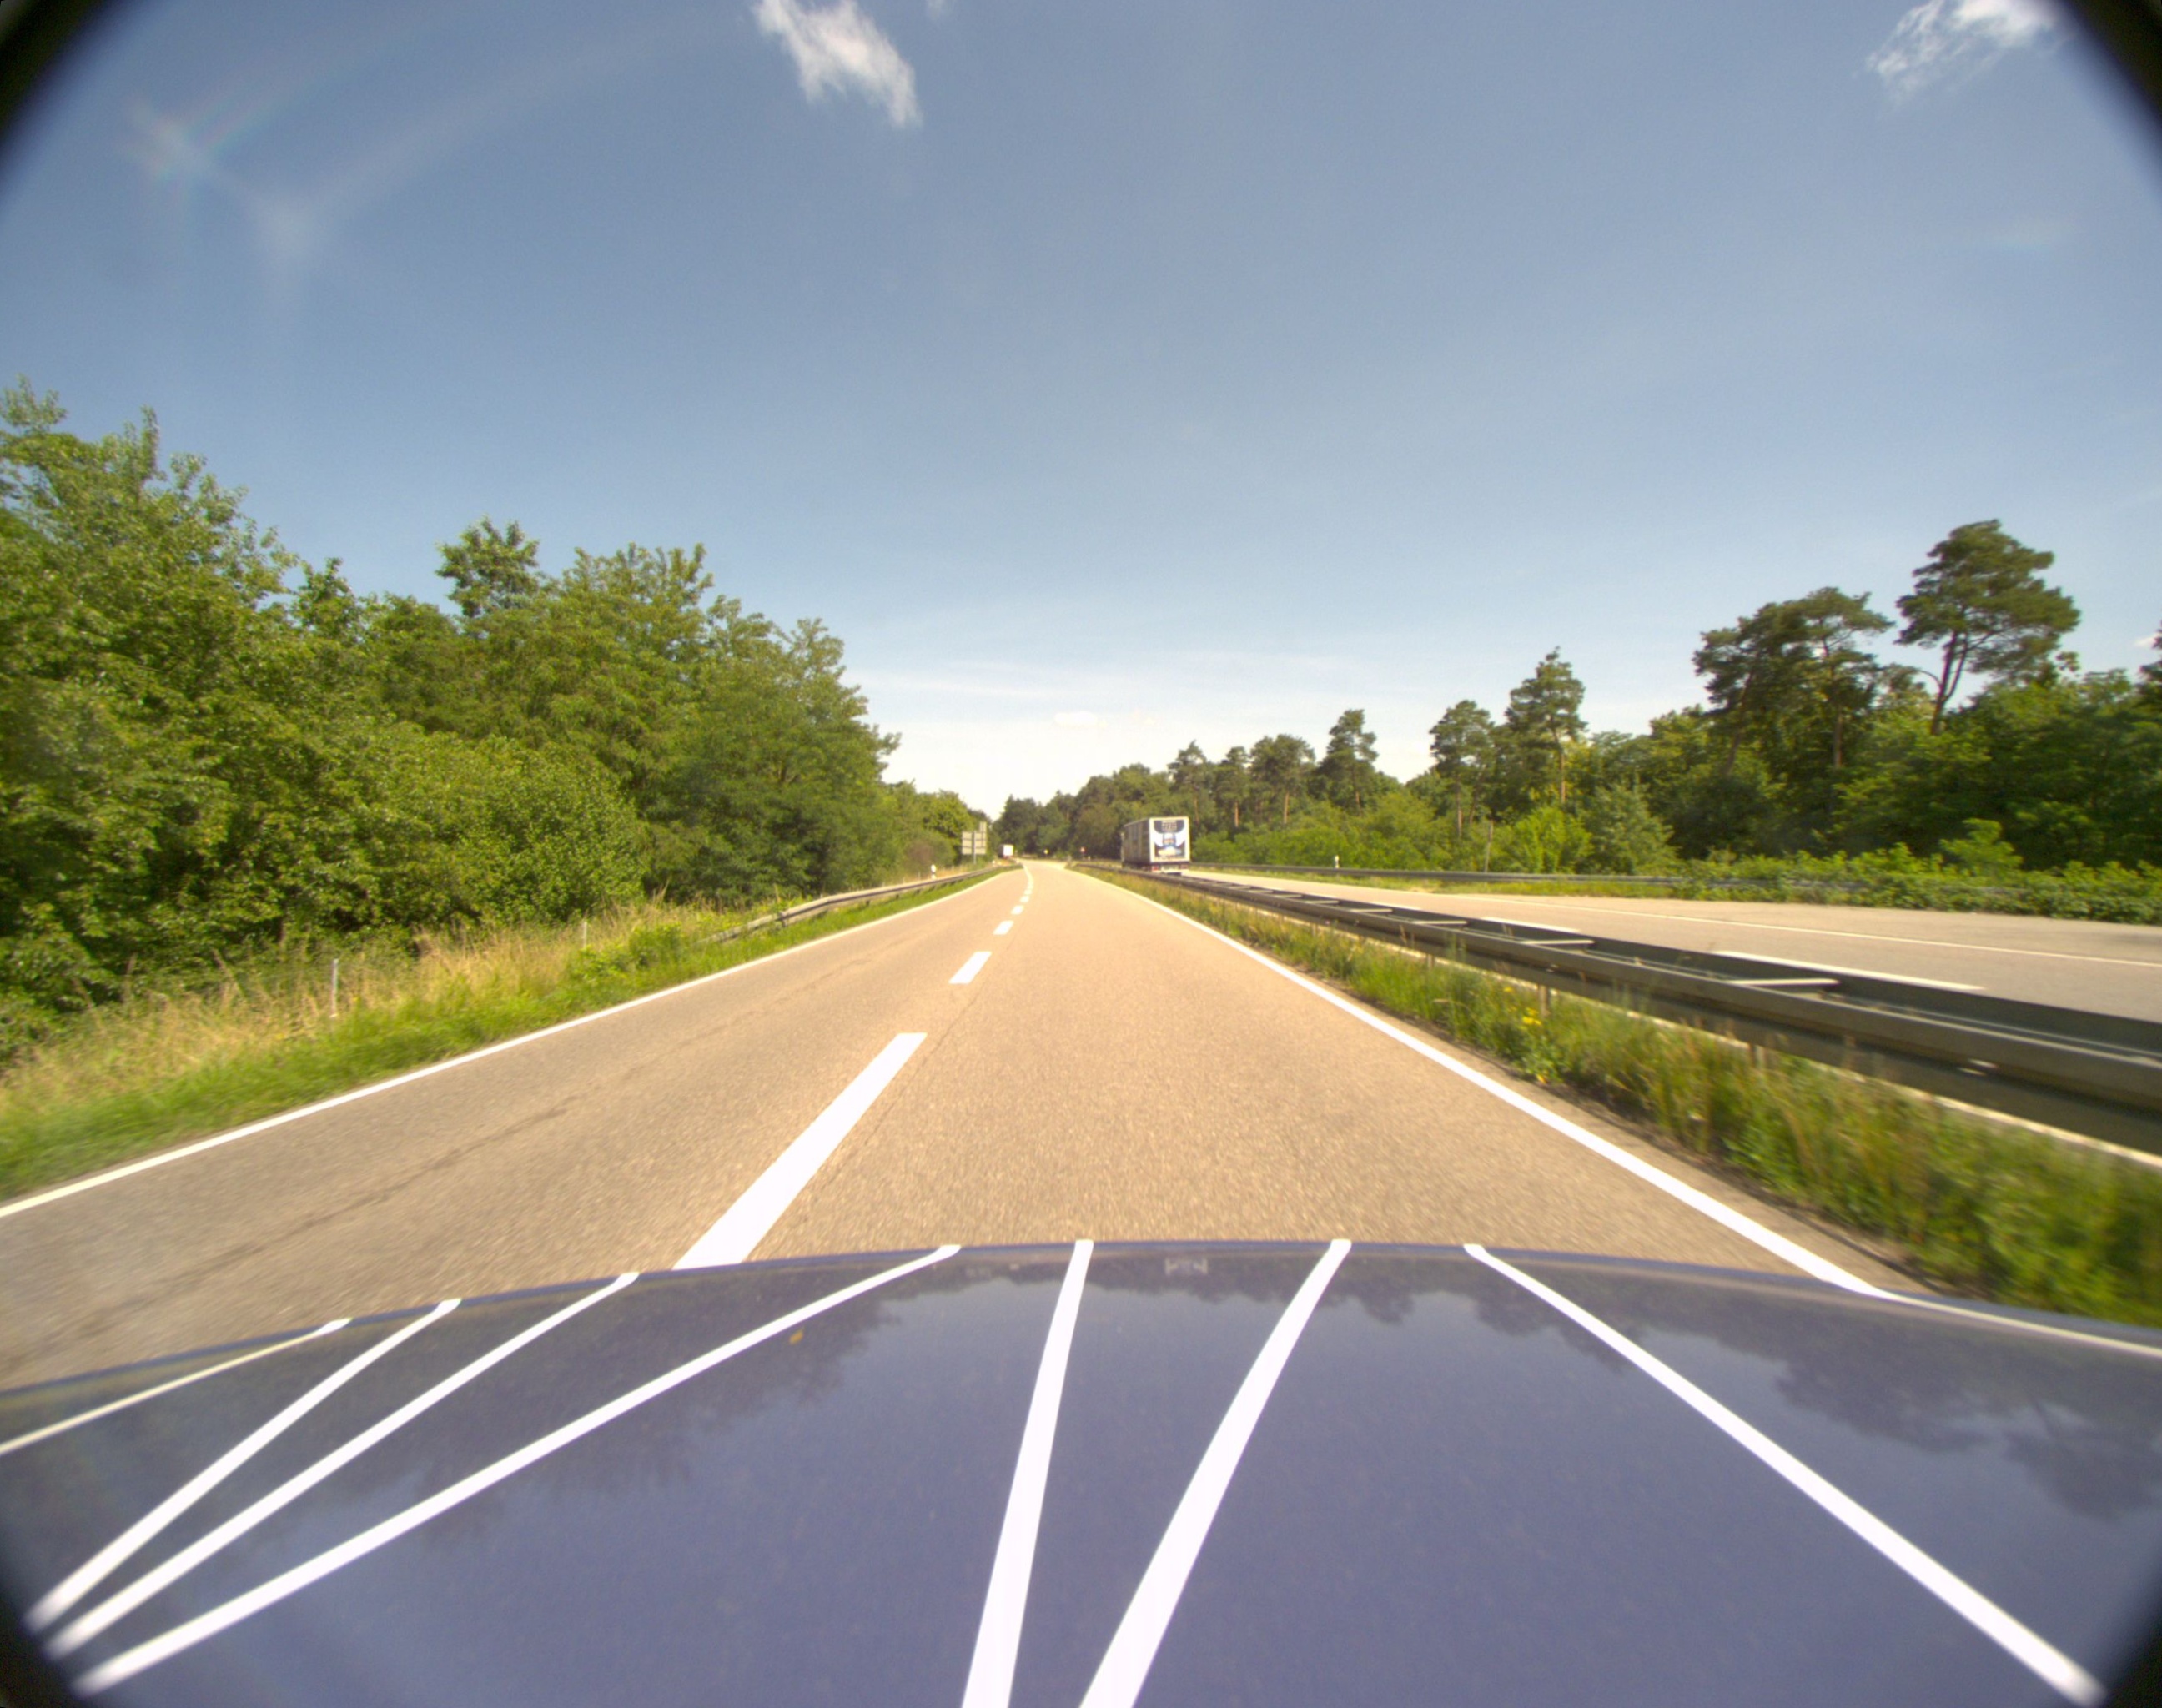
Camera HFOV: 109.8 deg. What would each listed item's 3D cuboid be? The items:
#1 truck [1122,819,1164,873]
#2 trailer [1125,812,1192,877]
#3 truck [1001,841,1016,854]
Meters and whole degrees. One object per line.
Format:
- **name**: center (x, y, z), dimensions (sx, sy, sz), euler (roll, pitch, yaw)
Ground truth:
- **truck**: center (5.004, -0.614, 62.420), dimensions (2.676, 4.163, 5.712), euler (-1, 0, -3)
- **trailer**: center (5.366, -0.615, 55.747), dimensions (2.676, 4.163, 14.058), euler (-1, 0, -3)
- **truck**: center (-22.297, -1.943, 233.250), dimensions (2.793, 3.853, 14.130), euler (-2, 1, -12)
